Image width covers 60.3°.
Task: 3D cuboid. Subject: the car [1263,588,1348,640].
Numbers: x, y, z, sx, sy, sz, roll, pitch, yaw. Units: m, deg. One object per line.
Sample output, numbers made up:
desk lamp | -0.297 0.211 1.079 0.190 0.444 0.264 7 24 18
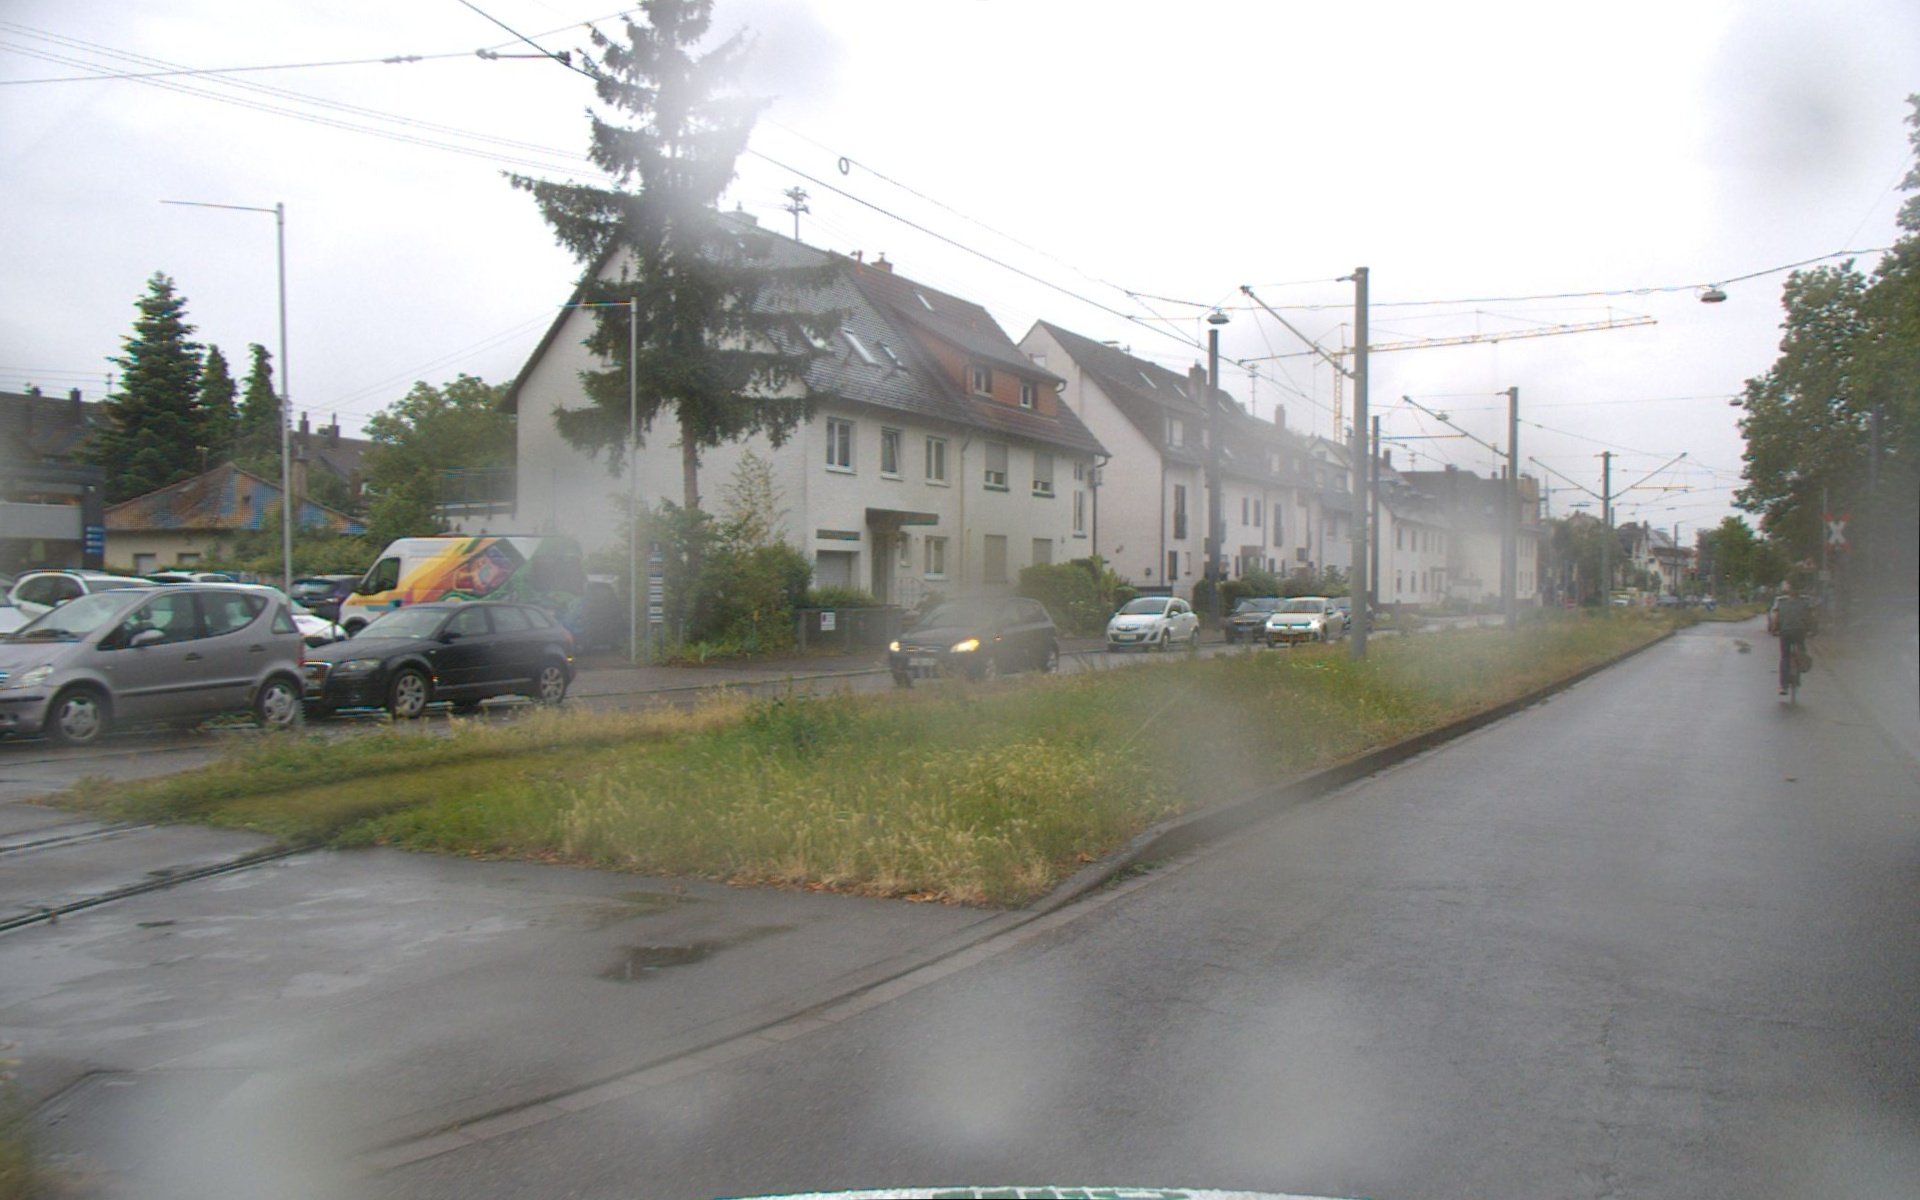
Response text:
car | 10.353 0.429 49.386 1.569 1.448 3.815 0 -2 27

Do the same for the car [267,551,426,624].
car | -14.464 -0.294 39.252 1.820 1.608 4.402 -1 0 5

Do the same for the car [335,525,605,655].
car | -9.854 -0.176 33.226 5.031 2.448 2.150 0 -2 26

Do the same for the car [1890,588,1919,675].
car | 18.544 0.510 29.031 3.514 1.506 1.638 -1 0 0

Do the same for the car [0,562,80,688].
car | -13.782 0.298 22.062 3.785 1.606 1.805 0 1 28

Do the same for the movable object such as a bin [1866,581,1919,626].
movable object such as a bin | 36.514 0.134 64.520 1.517 1.734 1.501 0 0 3

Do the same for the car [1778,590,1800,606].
car | 84.233 -0.208 168.088 1.954 1.518 3.996 0 -2 26

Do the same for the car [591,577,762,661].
car | -6.386 0.375 37.693 1.954 1.591 3.893 1 4 25

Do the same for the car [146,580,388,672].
car | -11.424 0.411 27.235 3.757 1.420 1.719 0 -2 30

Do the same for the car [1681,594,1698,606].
car | 100.837 -0.032 228.674 1.955 1.571 3.995 0 -2 27

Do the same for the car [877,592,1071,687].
car | 0.324 0.693 28.522 1.703 1.512 3.994 0 -2 27

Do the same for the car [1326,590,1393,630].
car | 16.385 0.427 67.648 1.840 1.530 4.129 0 -2 26

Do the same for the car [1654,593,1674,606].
car | 87.746 -0.052 206.159 1.955 1.571 3.995 0 -2 27

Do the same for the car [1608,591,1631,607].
car | 71.498 -0.123 179.254 1.955 1.571 3.995 0 -2 27

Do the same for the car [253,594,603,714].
car | -6.717 0.688 21.396 1.684 1.362 4.383 0 -2 27

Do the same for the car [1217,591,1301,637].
car | 10.193 0.507 56.115 1.569 1.448 4.661 0 -2 26

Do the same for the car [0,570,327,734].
car | -8.721 0.536 17.454 1.683 1.531 3.640 0 -2 26

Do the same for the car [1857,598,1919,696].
car | 17.015 0.700 26.774 4.030 1.506 1.864 -1 0 -6

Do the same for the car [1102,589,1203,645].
car | 5.453 0.497 46.441 1.569 1.448 3.939 0 -2 26

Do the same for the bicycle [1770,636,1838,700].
bicycle | 13.160 1.039 25.844 0.804 0.928 1.985 0 -1 23

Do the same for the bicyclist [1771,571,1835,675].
bicyclist | 13.100 0.358 25.724 0.814 1.585 0.913 0 -1 23

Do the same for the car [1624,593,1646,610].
car | 75.296 0.164 184.387 1.955 1.735 3.995 0 -2 27

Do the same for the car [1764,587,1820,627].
car | 34.544 0.302 68.769 1.916 1.580 3.997 -2 -1 25

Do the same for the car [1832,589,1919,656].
car | 23.661 0.518 40.199 3.909 1.509 1.998 0 2 -5

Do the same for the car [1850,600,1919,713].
car | 15.252 0.768 23.898 3.920 1.580 1.953 -1 -1 -15

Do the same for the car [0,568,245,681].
car | -12.736 0.361 25.034 3.538 1.601 1.719 0 -2 30

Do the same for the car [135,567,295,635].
car | -18.842 0.012 42.076 1.750 1.608 4.450 -1 0 5
